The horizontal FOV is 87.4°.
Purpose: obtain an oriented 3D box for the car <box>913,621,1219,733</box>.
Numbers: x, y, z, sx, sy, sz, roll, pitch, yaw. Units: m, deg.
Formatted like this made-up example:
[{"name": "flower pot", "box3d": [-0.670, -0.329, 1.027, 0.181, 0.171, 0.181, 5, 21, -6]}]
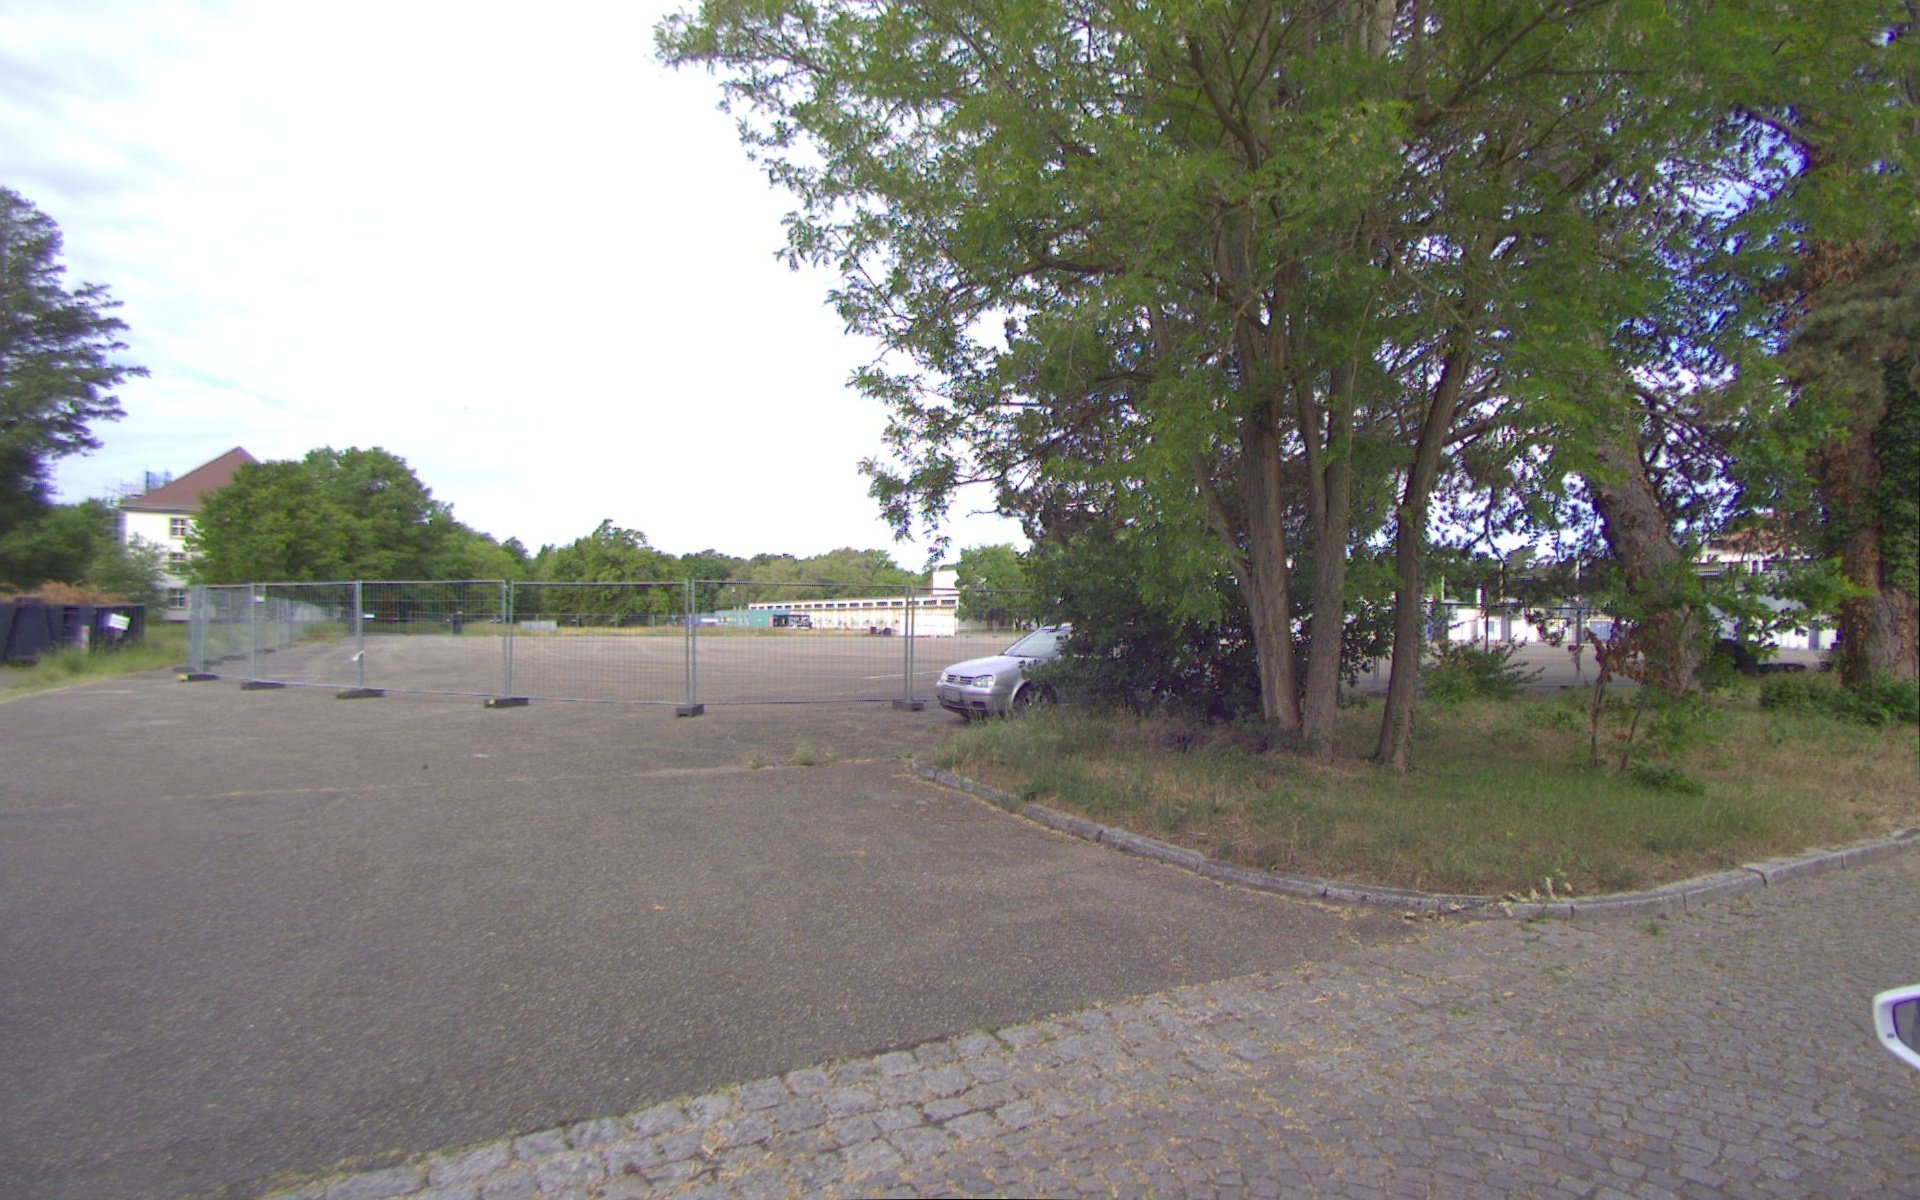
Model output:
[{"name": "car", "box3d": [1.641, 1.061, 14.961, 4.373, 1.435, 1.814, 1, -1, -32]}]
